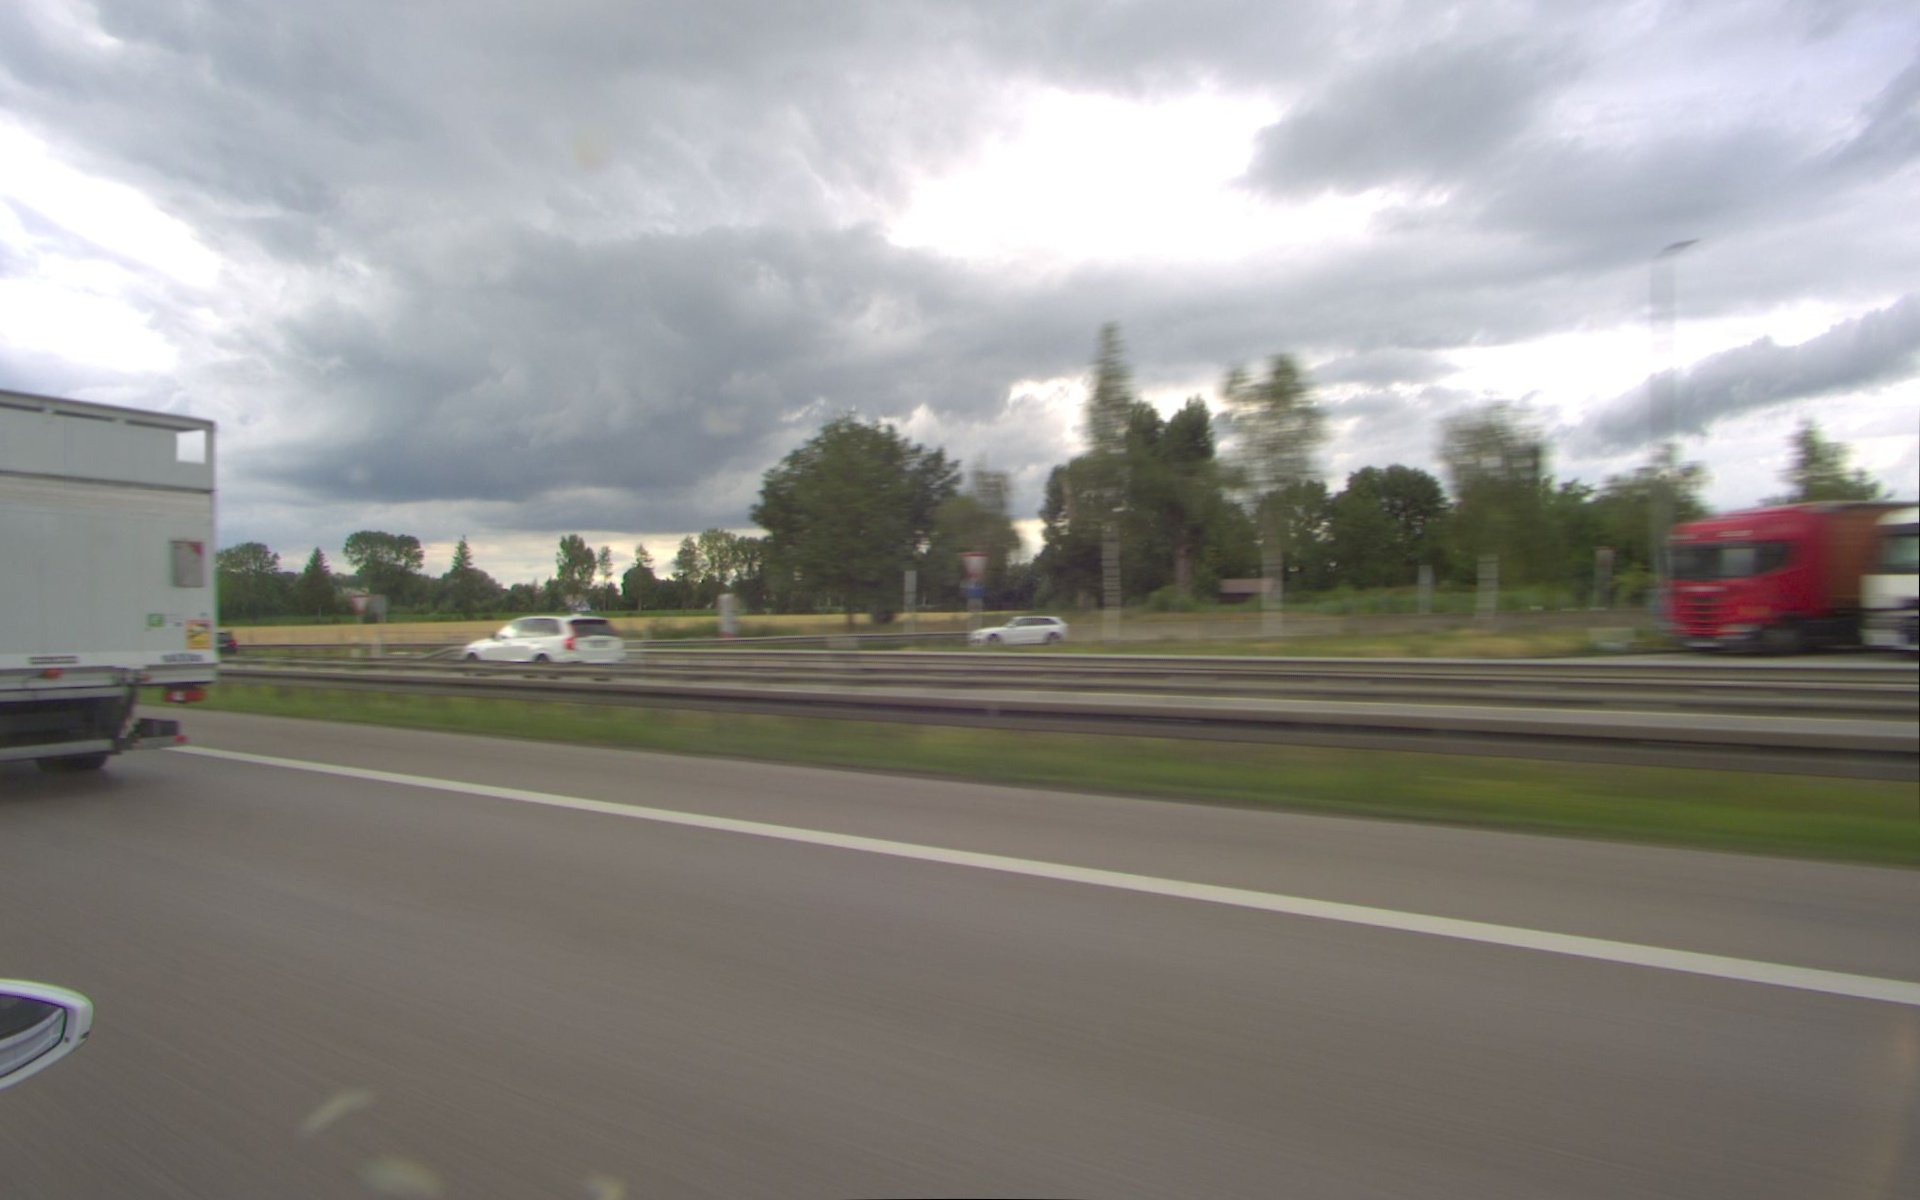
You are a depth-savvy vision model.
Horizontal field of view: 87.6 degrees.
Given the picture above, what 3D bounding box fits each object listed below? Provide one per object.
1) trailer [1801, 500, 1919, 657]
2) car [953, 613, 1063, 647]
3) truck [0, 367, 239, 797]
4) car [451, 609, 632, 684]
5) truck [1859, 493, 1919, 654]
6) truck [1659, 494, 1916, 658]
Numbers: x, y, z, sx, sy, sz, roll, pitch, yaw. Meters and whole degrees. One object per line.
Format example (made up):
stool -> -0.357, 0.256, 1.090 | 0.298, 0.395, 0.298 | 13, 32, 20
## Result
trailer -> 30.720, -0.554, 29.620 | 10.902, 4.279, 2.597 | 0, -1, -11
car -> 2.164, 1.394, 45.650 | 4.694, 1.486, 1.999 | 1, -2, -13
truck -> -11.510, -0.078, 10.976 | 8.933, 3.549, 2.765 | -1, -1, 33
car -> -10.928, 1.157, 26.007 | 4.993, 1.780, 1.824 | -1, 0, 33
truck -> 26.289, -0.671, 24.817 | 6.274, 3.901, 2.754 | -1, 0, -11
truck -> 23.107, -0.551, 28.081 | 5.588, 4.307, 2.591 | 0, -2, -12
